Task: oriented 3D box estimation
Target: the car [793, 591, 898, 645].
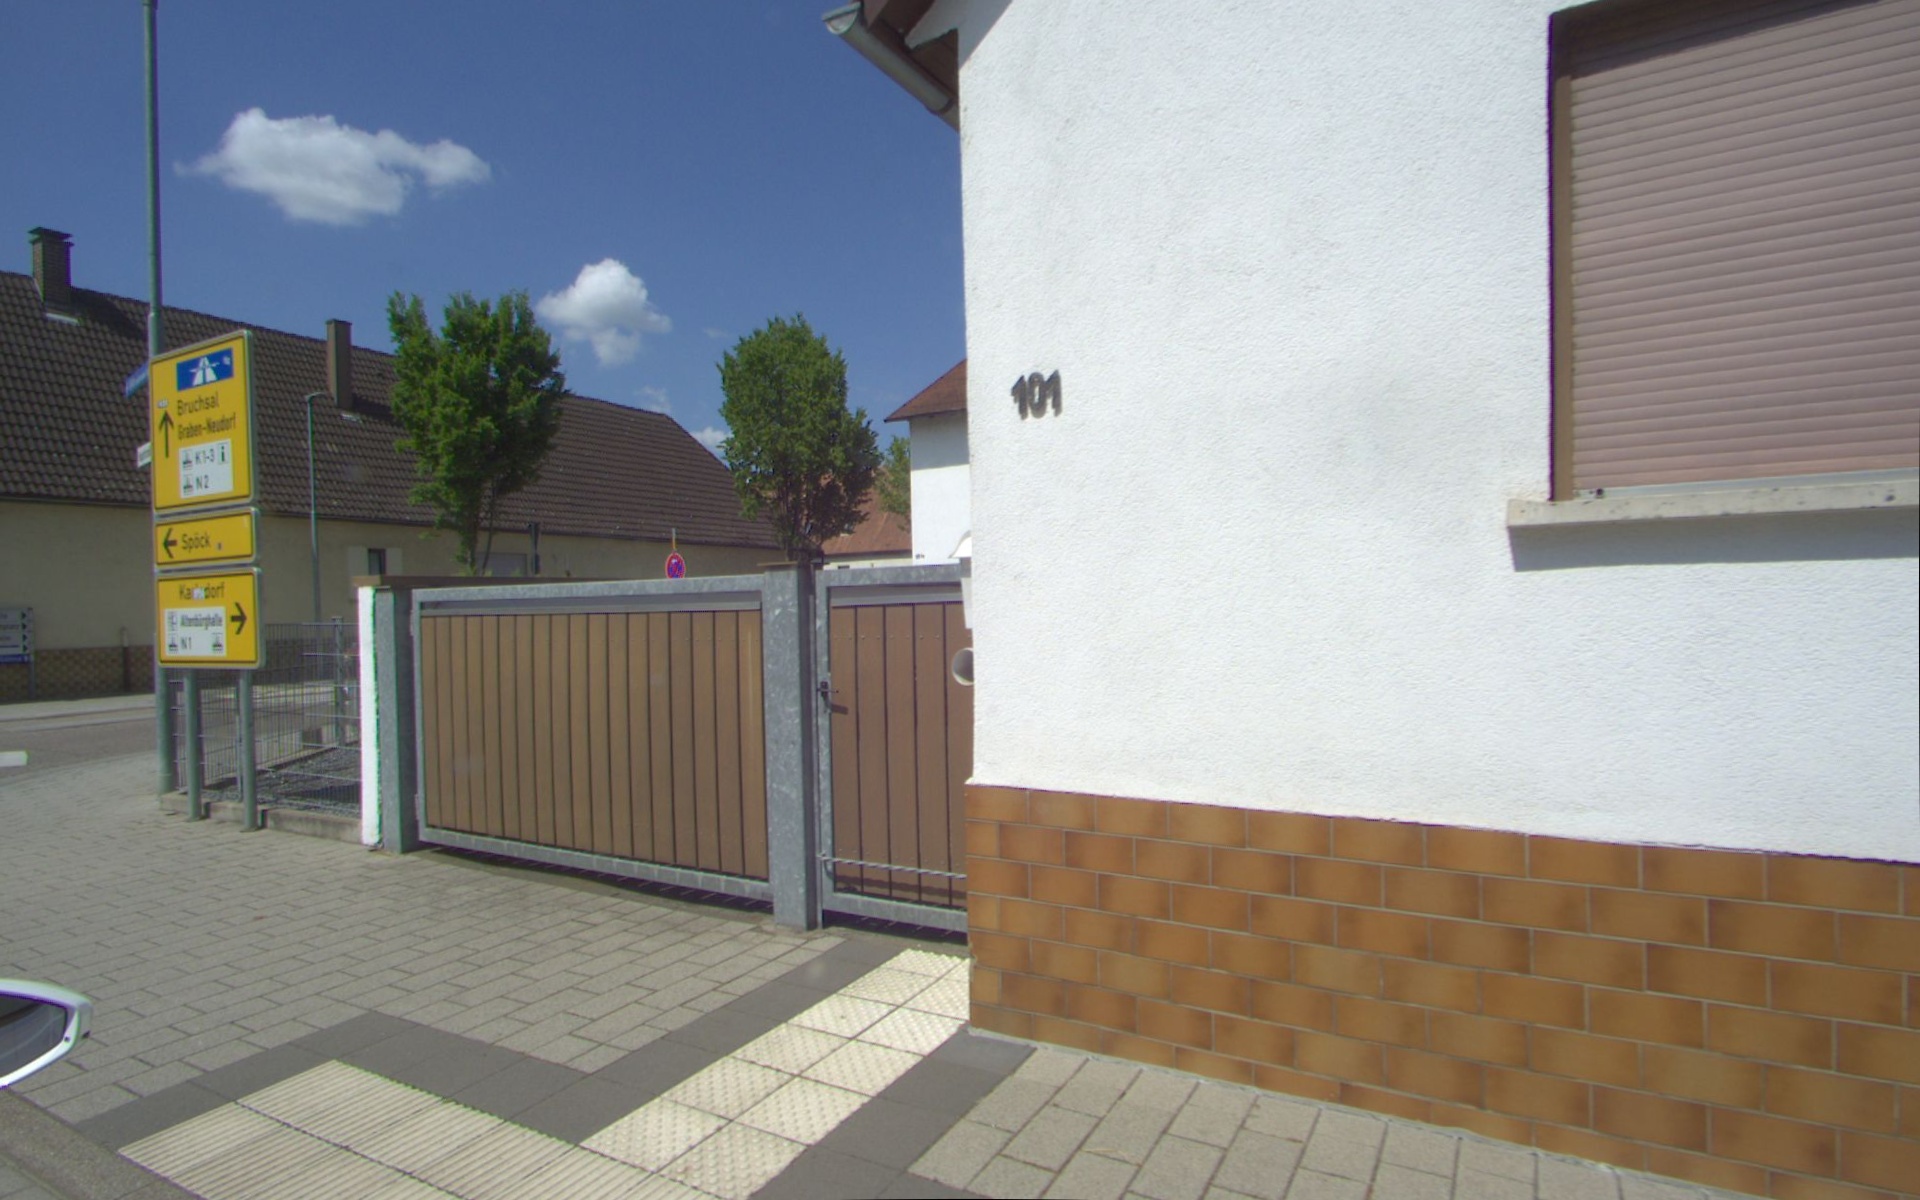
[{"bbox_3d":[-4.416,0.658,39.273,1.969,1.964,4.460,0,0,27],"label":"car"}]
